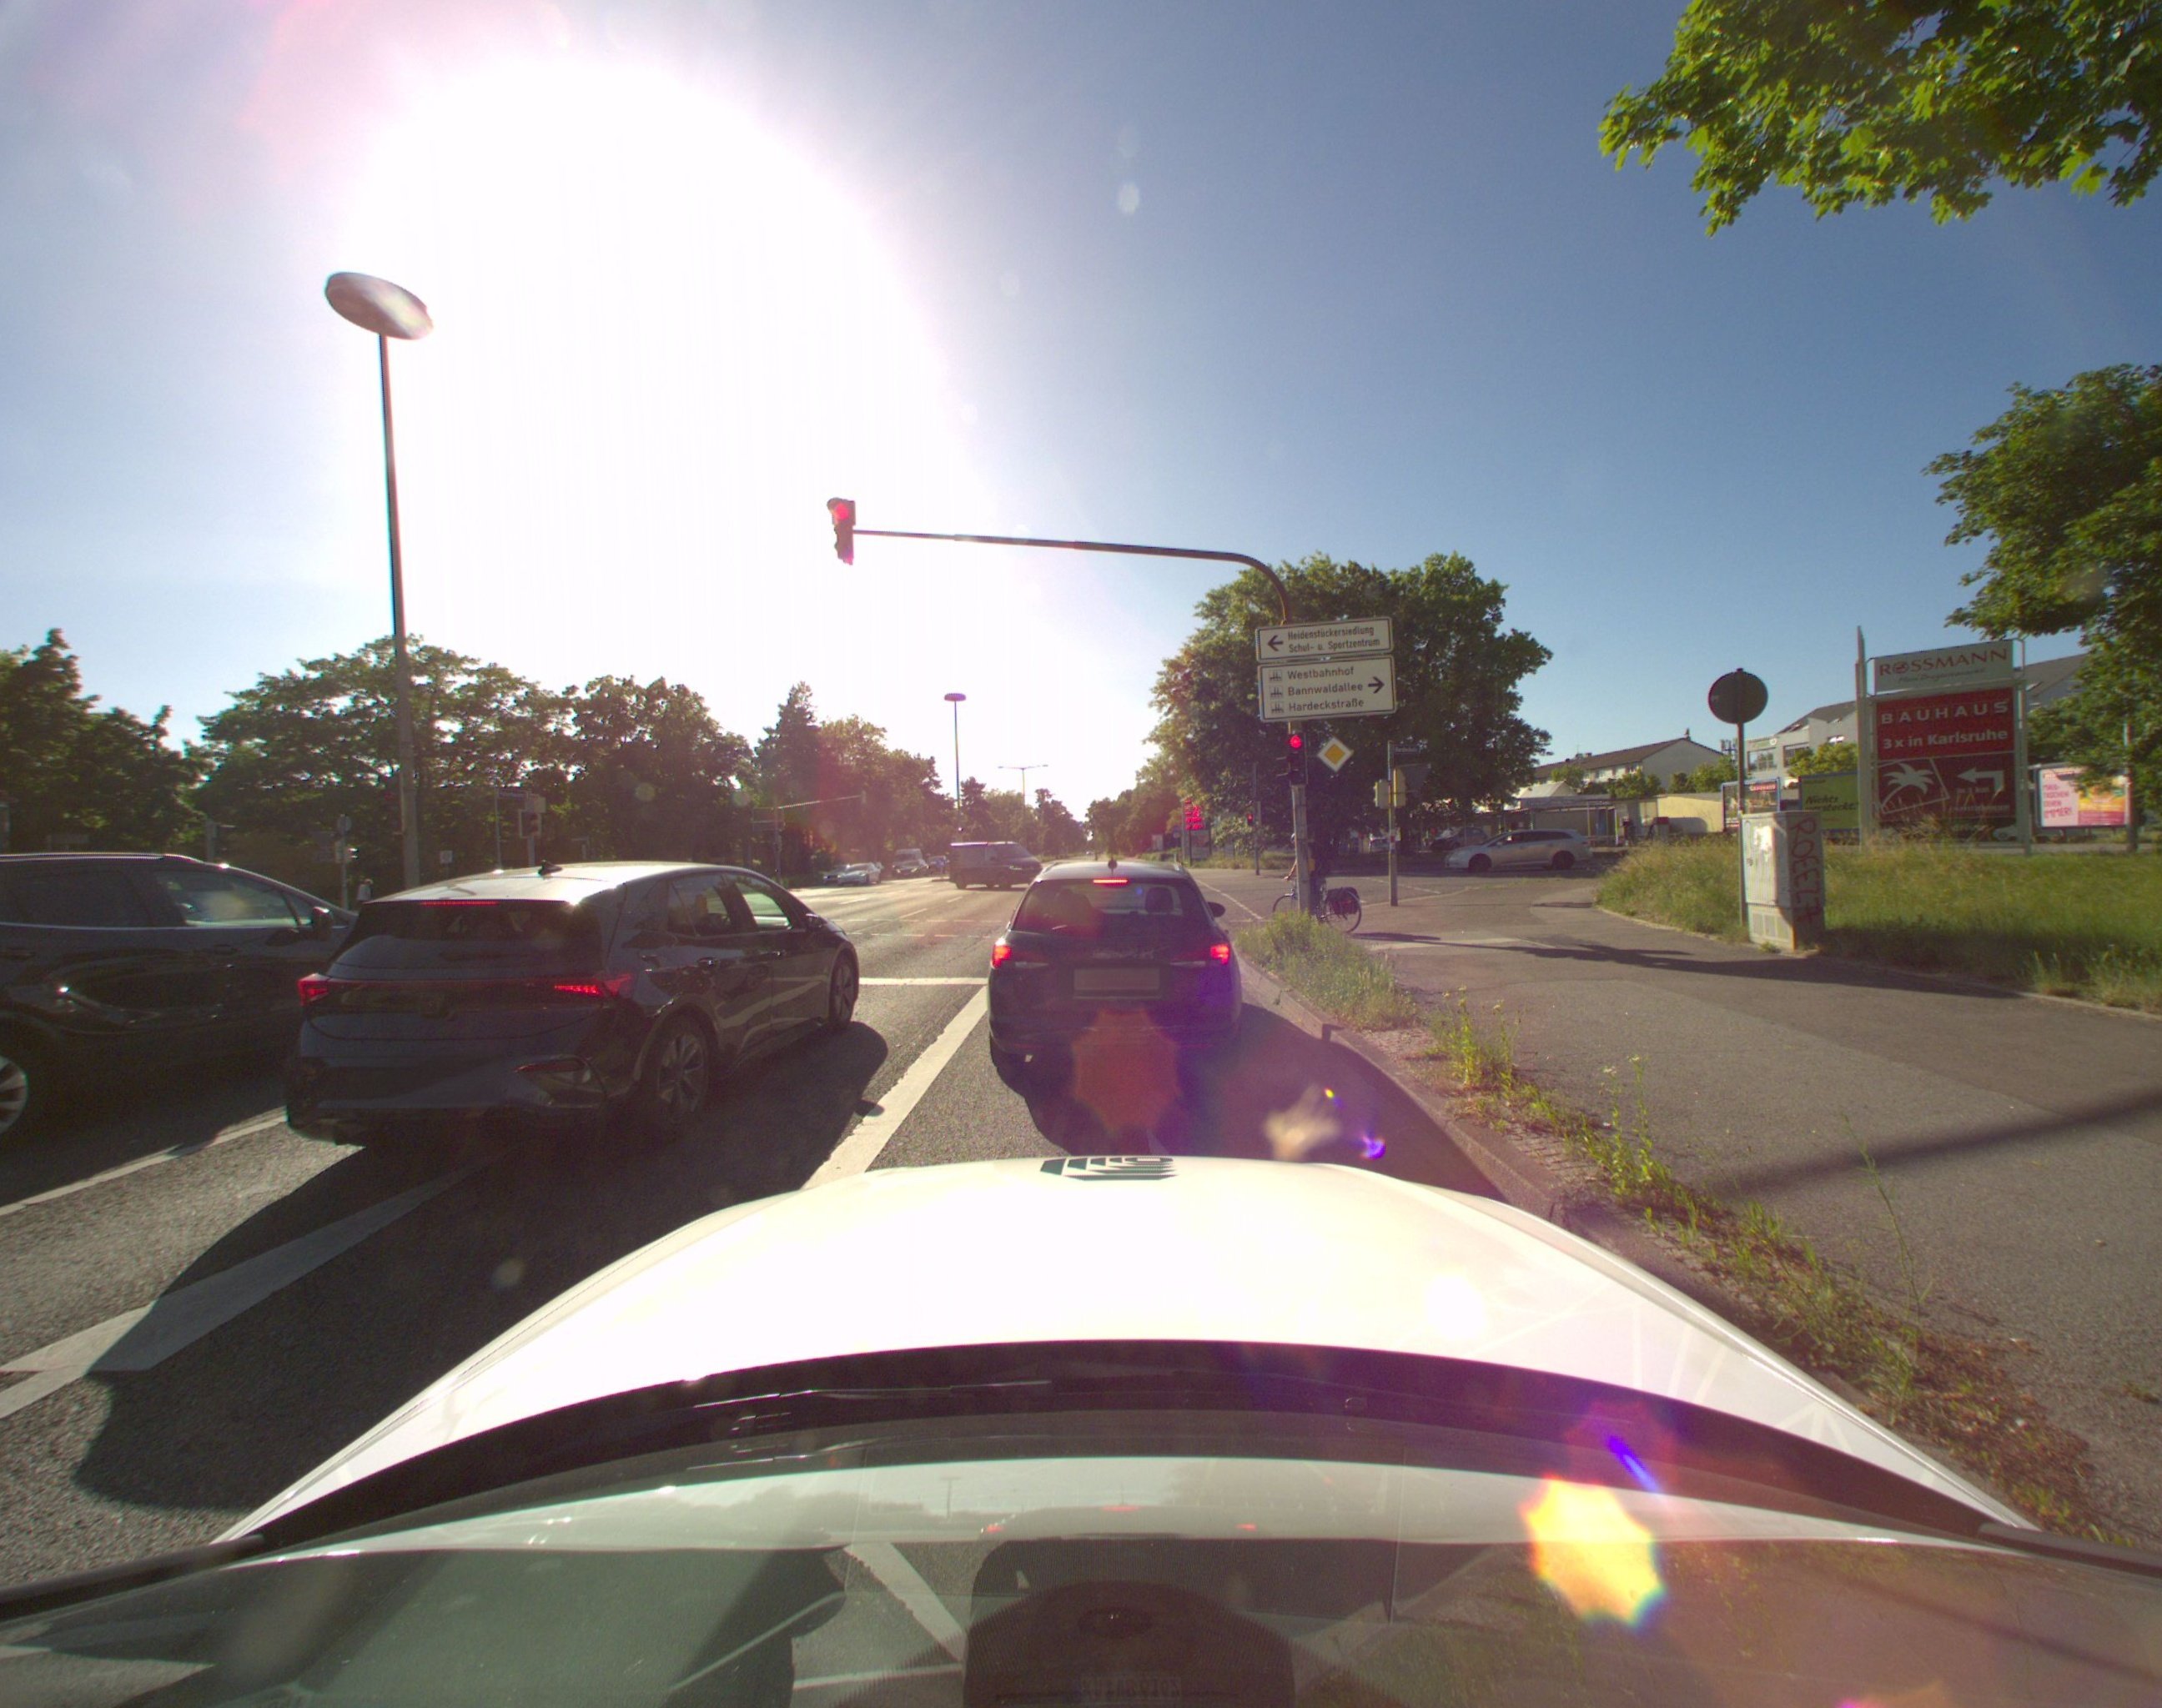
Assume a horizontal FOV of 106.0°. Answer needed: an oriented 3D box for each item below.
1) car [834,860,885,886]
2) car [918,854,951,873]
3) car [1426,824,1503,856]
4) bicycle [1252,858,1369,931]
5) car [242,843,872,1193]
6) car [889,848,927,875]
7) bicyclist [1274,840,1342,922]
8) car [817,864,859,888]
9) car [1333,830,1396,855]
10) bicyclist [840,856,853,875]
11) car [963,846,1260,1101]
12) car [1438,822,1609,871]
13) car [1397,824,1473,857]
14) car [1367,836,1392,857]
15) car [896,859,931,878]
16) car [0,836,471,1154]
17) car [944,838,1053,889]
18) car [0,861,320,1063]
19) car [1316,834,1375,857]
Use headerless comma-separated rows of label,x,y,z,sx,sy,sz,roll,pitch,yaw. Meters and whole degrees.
car,-14.206,1.185,52.485,1.881,1.524,4.506,-3,0,2
car,-13.644,0.890,76.005,1.986,1.601,4.617,-3,0,2
car,22.377,-0.814,47.522,4.002,1.680,1.733,-3,0,-21
bicycle,3.730,0.685,13.369,0.541,1.097,1.755,-3,-2,-42
car,-2.961,0.769,5.853,1.678,1.580,4.208,-1,0,2
car,-16.751,0.706,79.199,2.092,2.492,6.006,-3,0,2
bicyclist,3.715,0.443,13.370,0.541,1.277,0.819,-3,-2,-42
car,-17.559,1.556,59.016,1.680,1.509,4.005,-3,0,2
car,19.662,-0.822,56.430,3.903,1.517,1.733,-3,0,-21
bicyclist,-21.818,1.055,75.732,0.874,1.648,1.198,-3,0,-4
car,0.248,0.723,6.961,1.750,1.495,4.208,-1,0,2
car,15.663,-0.247,29.130,4.969,1.486,2.007,-2,0,13
car,21.468,-0.817,49.398,4.003,1.750,1.985,-3,0,-22
car,25.409,-0.658,69.364,1.726,1.680,4.018,-3,0,17
car,-13.717,1.150,66.892,1.680,1.433,4.617,-3,0,2
car,-6.621,0.784,5.516,1.798,1.689,4.002,-3,0,2
car,-3.621,0.433,35.045,1.929,1.992,4.953,-3,0,-44
car,-10.225,0.984,7.918,1.824,1.702,3.999,-3,0,0
car,19.327,-0.615,59.522,3.903,1.517,1.733,-3,0,-21
